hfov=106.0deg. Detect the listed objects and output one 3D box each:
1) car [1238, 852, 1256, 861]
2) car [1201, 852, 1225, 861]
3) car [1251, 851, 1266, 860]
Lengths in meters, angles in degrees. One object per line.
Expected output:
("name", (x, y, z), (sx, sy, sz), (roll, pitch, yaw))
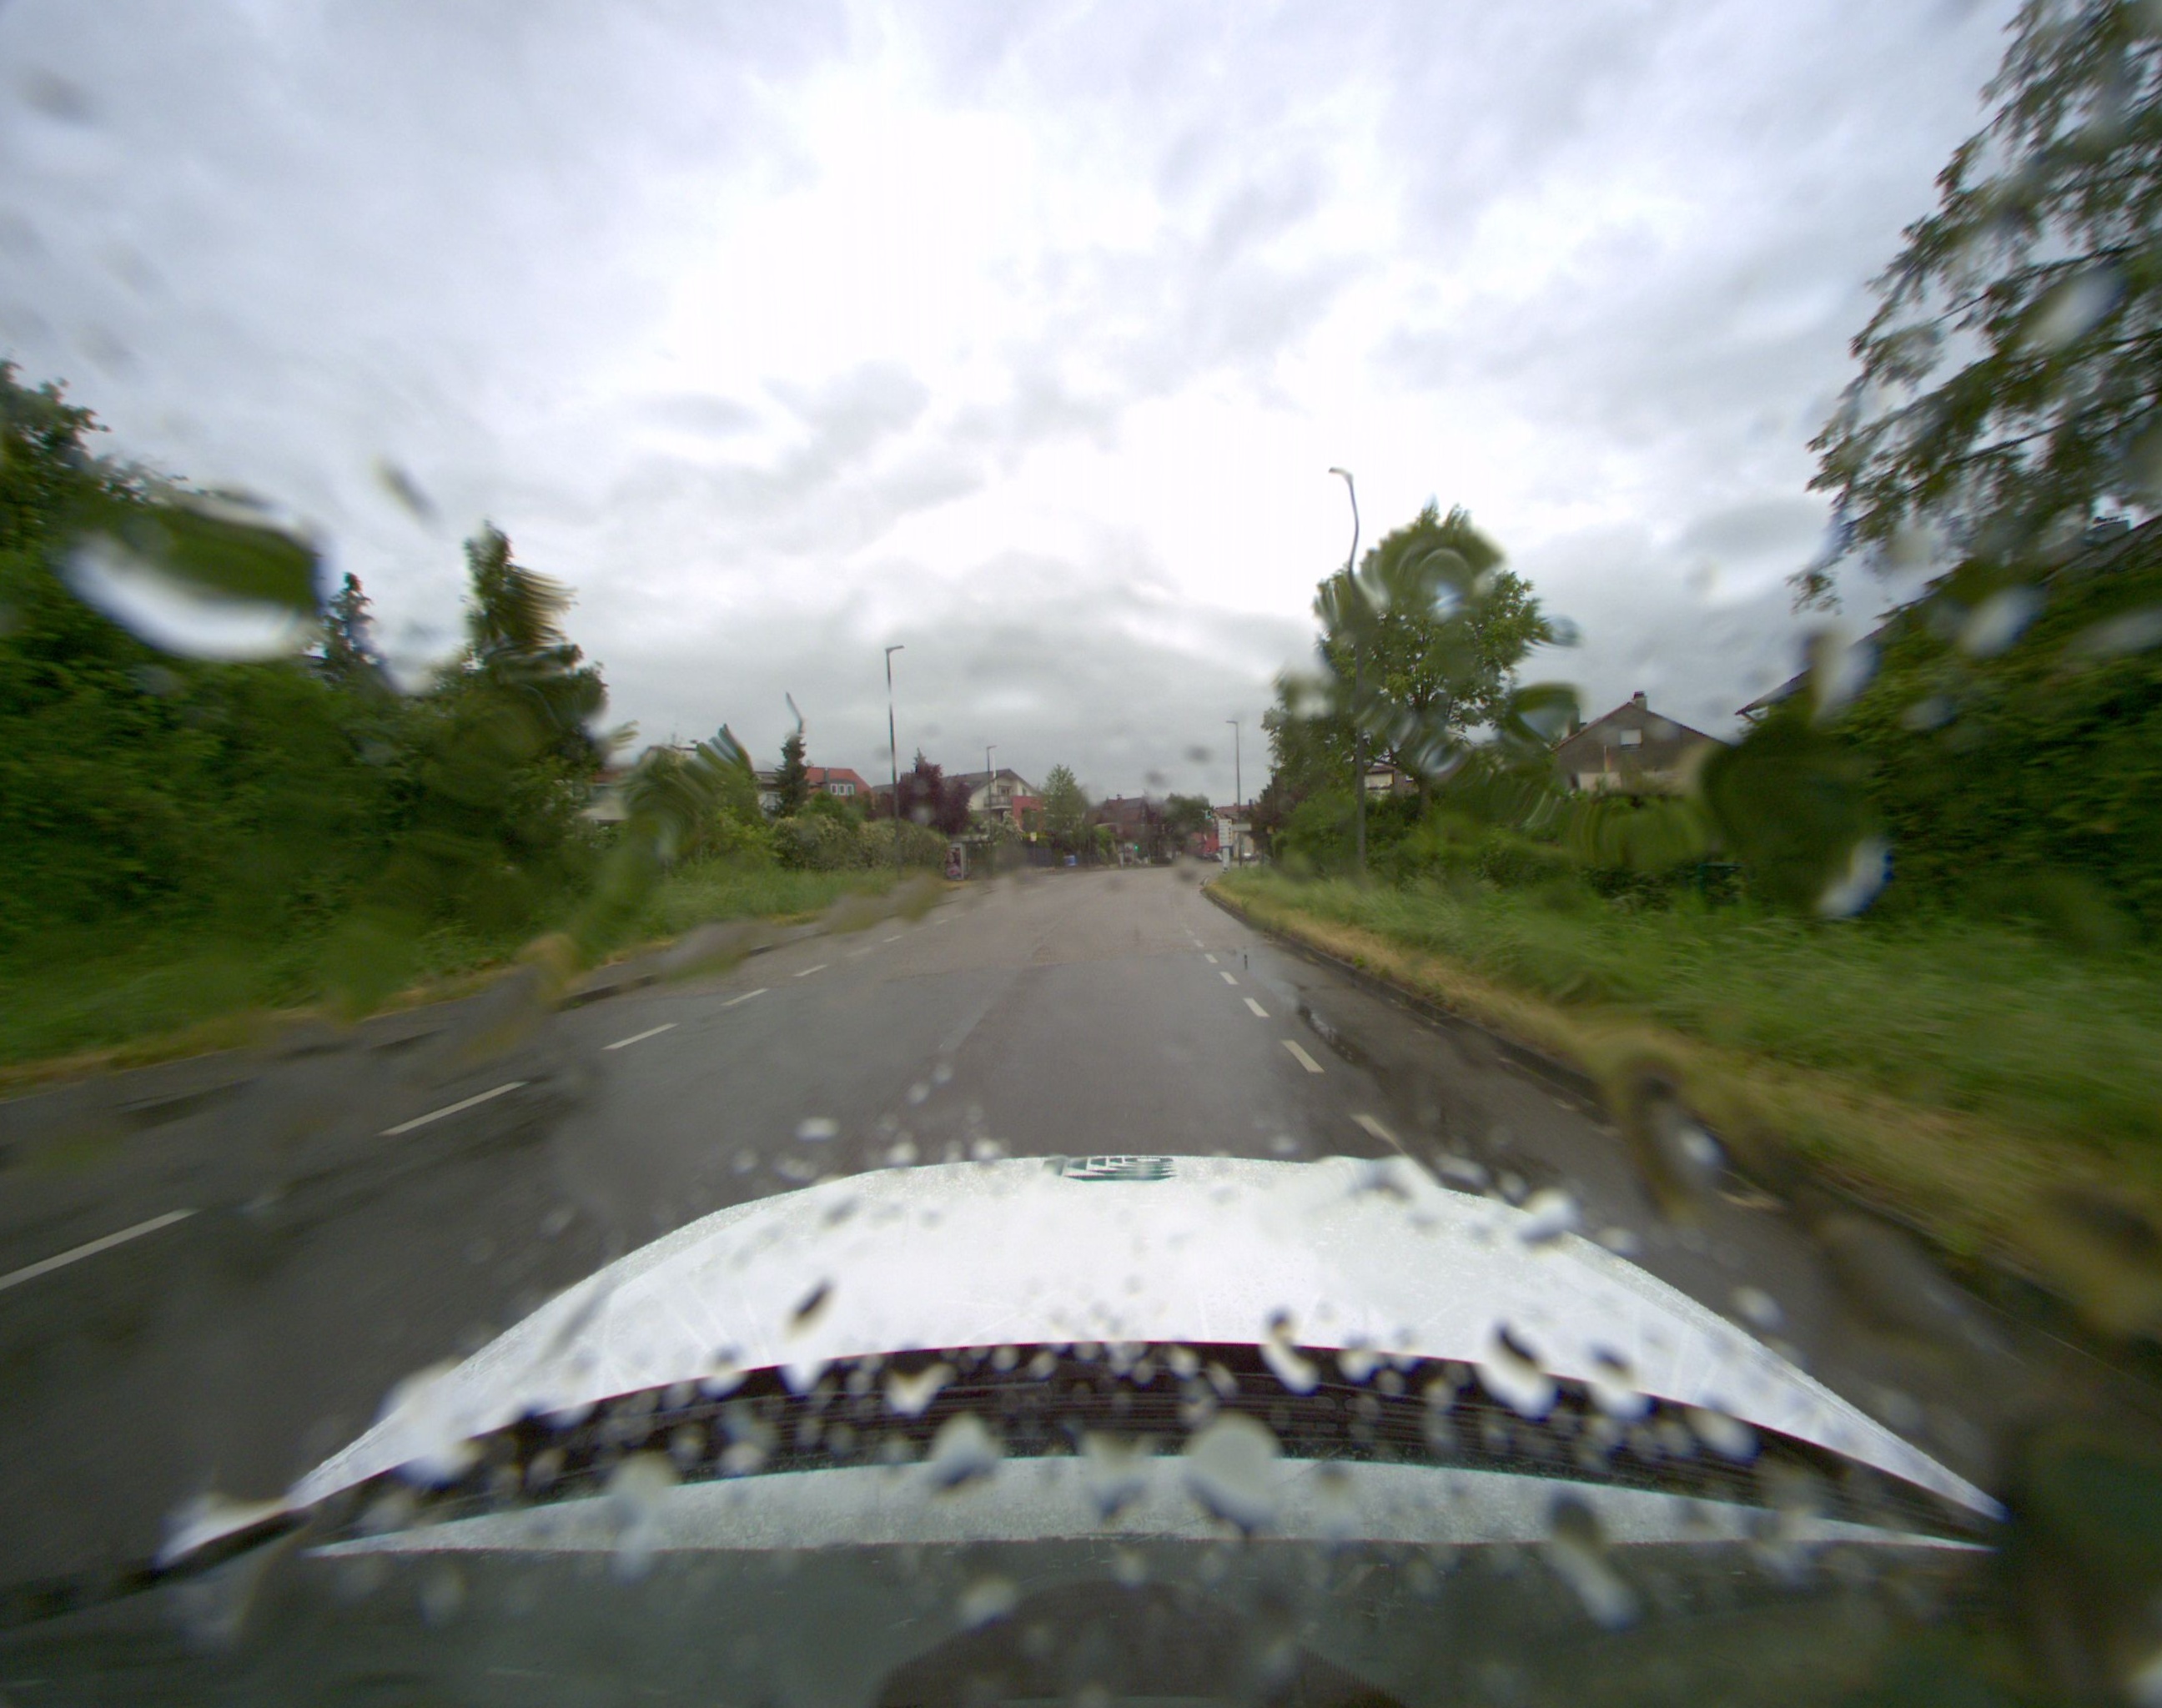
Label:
("car", (27.936, 0.376, 137.056), (1.611, 1.355, 4.136), (0, 1, 31))
("car", (21.881, 0.426, 135.032), (3.427, 1.479, 1.601), (-3, -1, 34))
("car", (32.508, 0.274, 148.950), (1.589, 1.617, 3.297), (-3, -1, 32))
